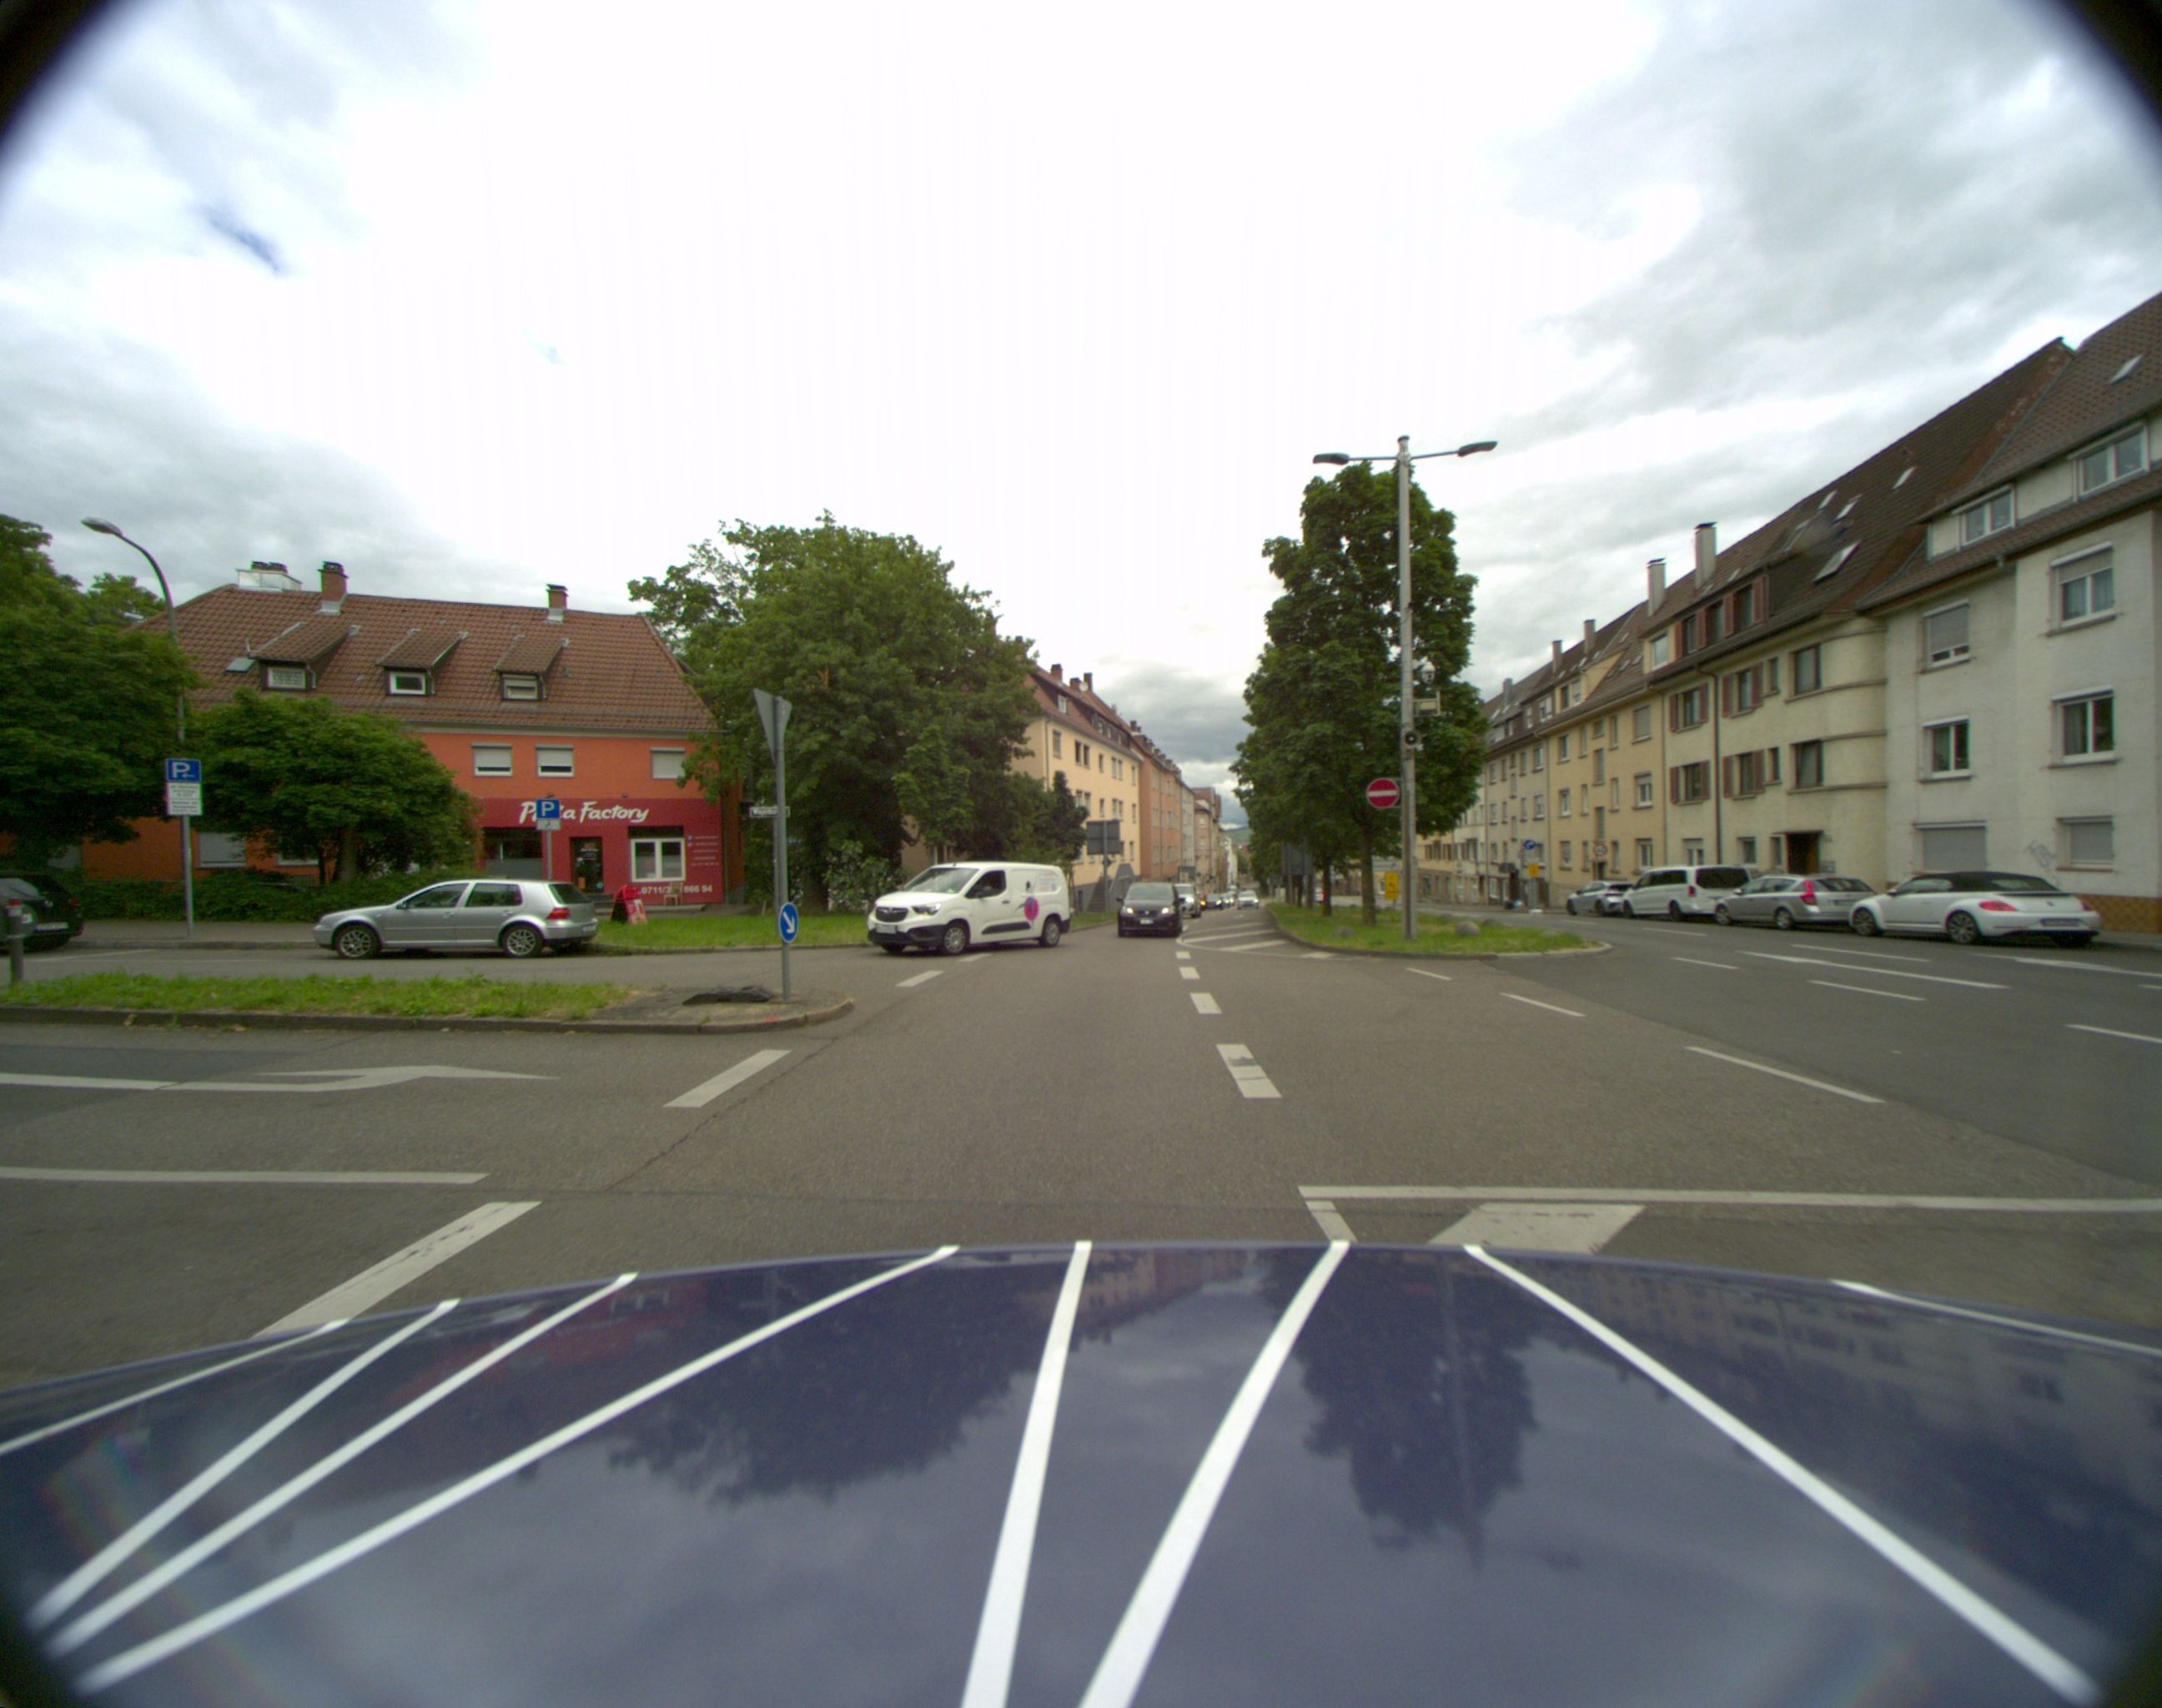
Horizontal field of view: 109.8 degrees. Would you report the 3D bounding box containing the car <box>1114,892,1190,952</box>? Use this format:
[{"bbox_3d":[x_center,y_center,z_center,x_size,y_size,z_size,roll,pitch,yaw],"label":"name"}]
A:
[{"bbox_3d":[2.055,1.852,21.223,1.602,1.447,3.690,-3,-4,12],"label":"car"}]

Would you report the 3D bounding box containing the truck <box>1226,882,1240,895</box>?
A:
[{"bbox_3d":[34.565,7.847,172.410,2.550,2.889,7.790,-1,-3,14],"label":"truck"}]

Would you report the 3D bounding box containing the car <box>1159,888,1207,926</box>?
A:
[{"bbox_3d":[4.815,2.463,35.565,1.778,1.597,4.170,-4,-4,12],"label":"car"}]

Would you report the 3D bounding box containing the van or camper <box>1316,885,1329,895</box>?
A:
[{"bbox_3d":[44.730,6.735,141.014,1.910,1.750,4.662,-2,-3,13],"label":"van or camper"}]

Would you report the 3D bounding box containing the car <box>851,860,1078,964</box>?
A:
[{"bbox_3d":[-2.146,1.128,15.526,1.785,1.778,4.856,-1,-3,33],"label":"car"}]

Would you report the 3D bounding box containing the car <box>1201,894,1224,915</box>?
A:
[{"bbox_3d":[11.014,4.227,63.623,1.782,1.583,3.538,1,-1,11],"label":"car"}]

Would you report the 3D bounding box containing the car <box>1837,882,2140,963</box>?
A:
[{"bbox_3d":[18.784,1.362,16.106,1.996,1.465,4.164,-1,-3,13],"label":"car"}]

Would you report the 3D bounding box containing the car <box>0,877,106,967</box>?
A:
[{"bbox_3d":[-19.612,1.089,12.546,4.132,1.419,1.736,1,-1,-13],"label":"car"}]

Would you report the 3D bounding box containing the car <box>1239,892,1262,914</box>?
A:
[{"bbox_3d":[14.021,4.046,62.908,1.782,1.583,3.538,1,-1,11],"label":"car"}]

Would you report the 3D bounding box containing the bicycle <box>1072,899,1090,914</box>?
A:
[{"bbox_3d":[0.006,2.738,39.686,0.489,0.768,1.560,-1,-3,16],"label":"bicycle"}]

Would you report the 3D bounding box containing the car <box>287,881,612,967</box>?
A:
[{"bbox_3d":[-11.299,1.263,13.945,4.131,1.419,1.862,1,-3,-11],"label":"car"}]

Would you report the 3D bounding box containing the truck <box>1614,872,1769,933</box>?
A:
[{"bbox_3d":[21.029,1.662,26.535,1.997,1.908,5.355,-1,-3,12],"label":"truck"}]

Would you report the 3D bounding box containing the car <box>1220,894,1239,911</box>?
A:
[{"bbox_3d":[15.100,4.895,77.200,1.782,1.583,3.538,1,-1,11],"label":"car"}]

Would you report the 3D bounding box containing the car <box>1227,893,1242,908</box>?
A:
[{"bbox_3d":[18.252,5.564,90.432,1.782,1.583,3.538,1,-1,11],"label":"car"}]

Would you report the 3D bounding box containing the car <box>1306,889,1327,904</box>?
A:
[{"bbox_3d":[24.923,4.480,80.497,1.748,1.457,4.593,-1,-3,13],"label":"car"}]

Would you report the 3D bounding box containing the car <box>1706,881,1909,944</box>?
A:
[{"bbox_3d":[19.715,1.556,20.950,1.997,1.542,4.388,-1,-3,12],"label":"car"}]

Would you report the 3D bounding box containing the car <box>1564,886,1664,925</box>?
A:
[{"bbox_3d":[22.396,2.137,32.141,1.997,1.542,4.164,-1,-3,12],"label":"car"}]

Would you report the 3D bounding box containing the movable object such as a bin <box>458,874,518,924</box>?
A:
[{"bbox_3d":[-17.716,1.318,22.735,1.083,1.442,1.240,1,-1,-21],"label":"movable object such as a bin"}]
